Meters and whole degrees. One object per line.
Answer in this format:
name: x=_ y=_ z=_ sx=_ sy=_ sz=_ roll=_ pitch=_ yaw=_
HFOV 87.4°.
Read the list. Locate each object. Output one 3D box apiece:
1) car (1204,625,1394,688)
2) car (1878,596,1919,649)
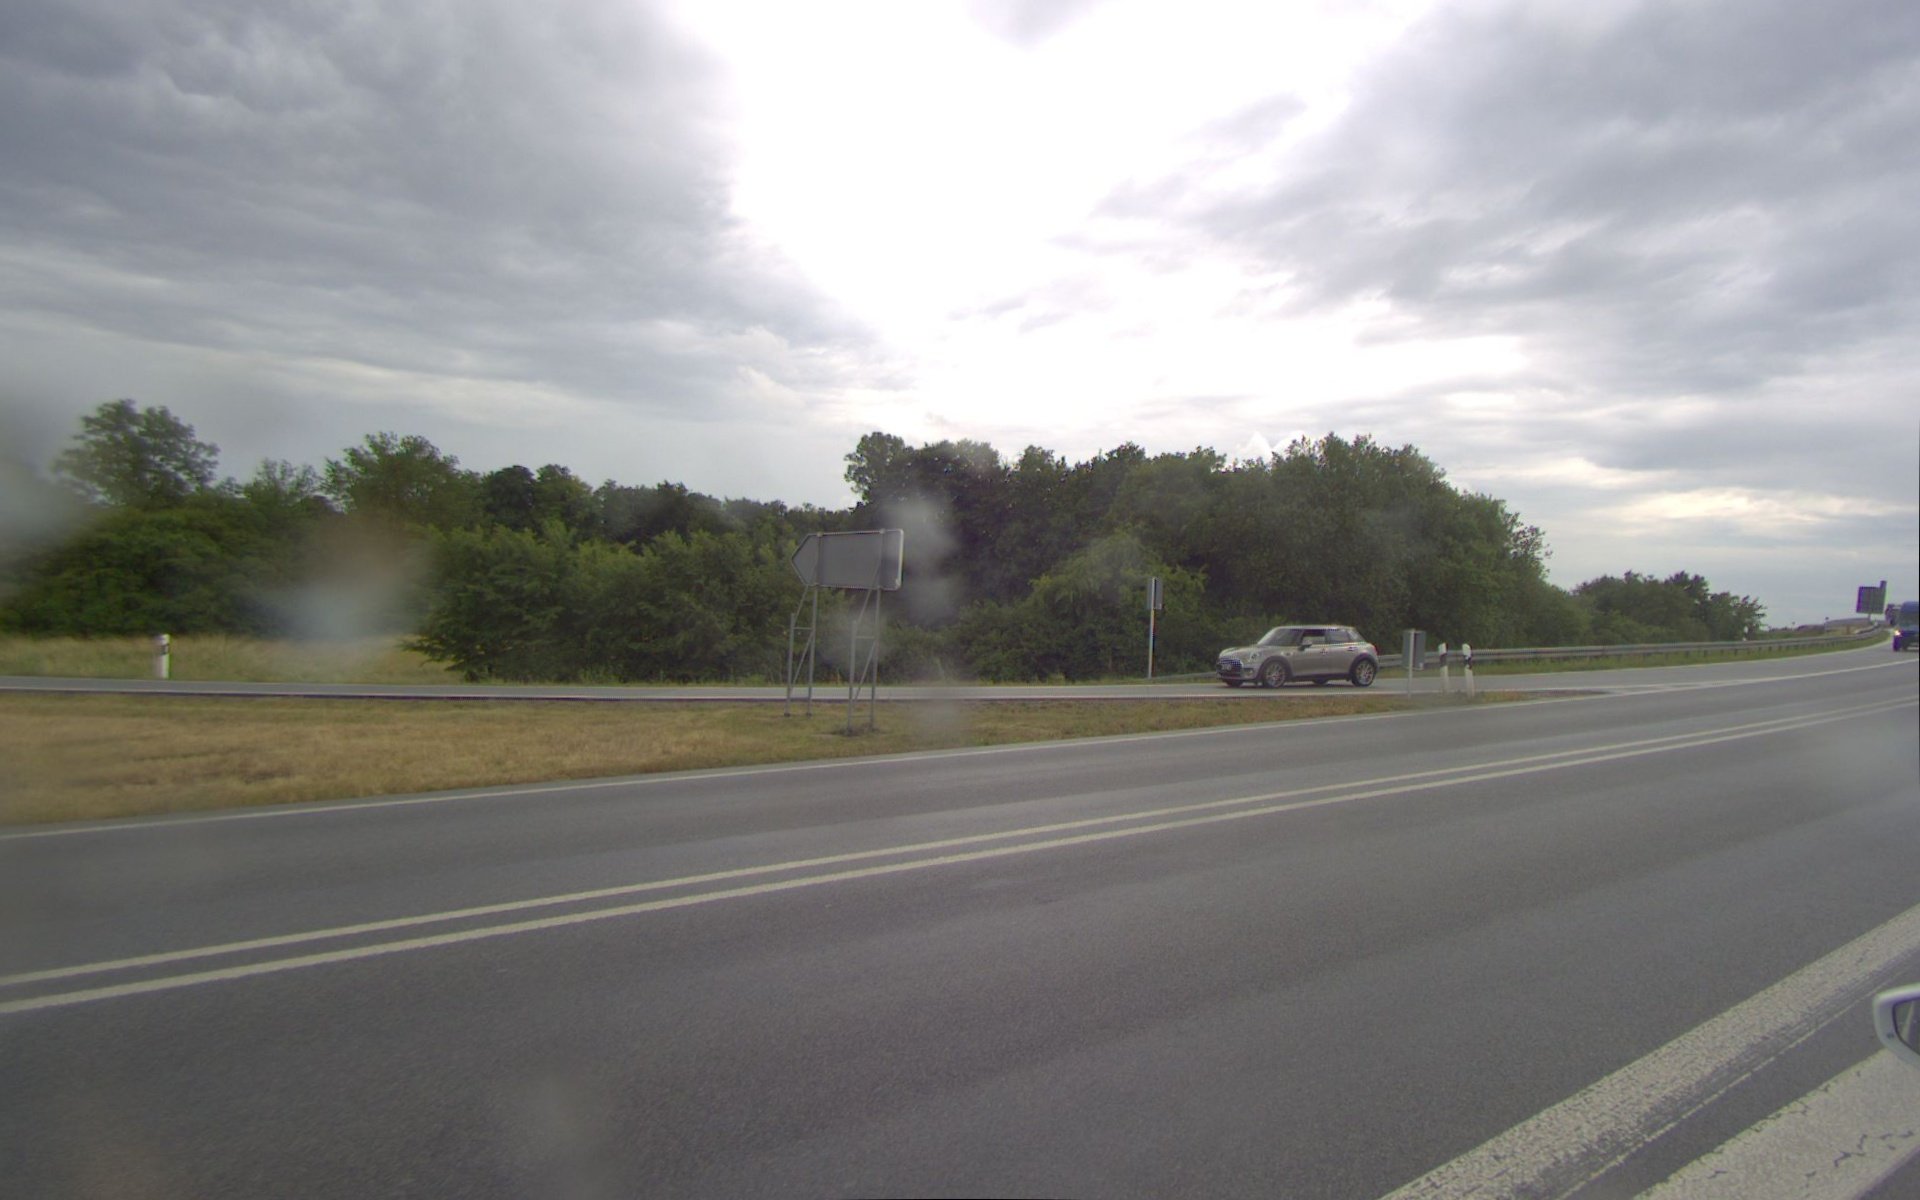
car: x=7.950 y=1.377 z=23.634 sx=3.987 sy=1.383 sz=1.744 roll=2 pitch=-5 yaw=-19
car: x=52.212 y=1.241 z=54.913 sx=6.944 sy=2.737 sz=2.329 roll=1 pitch=1 yaw=-43
